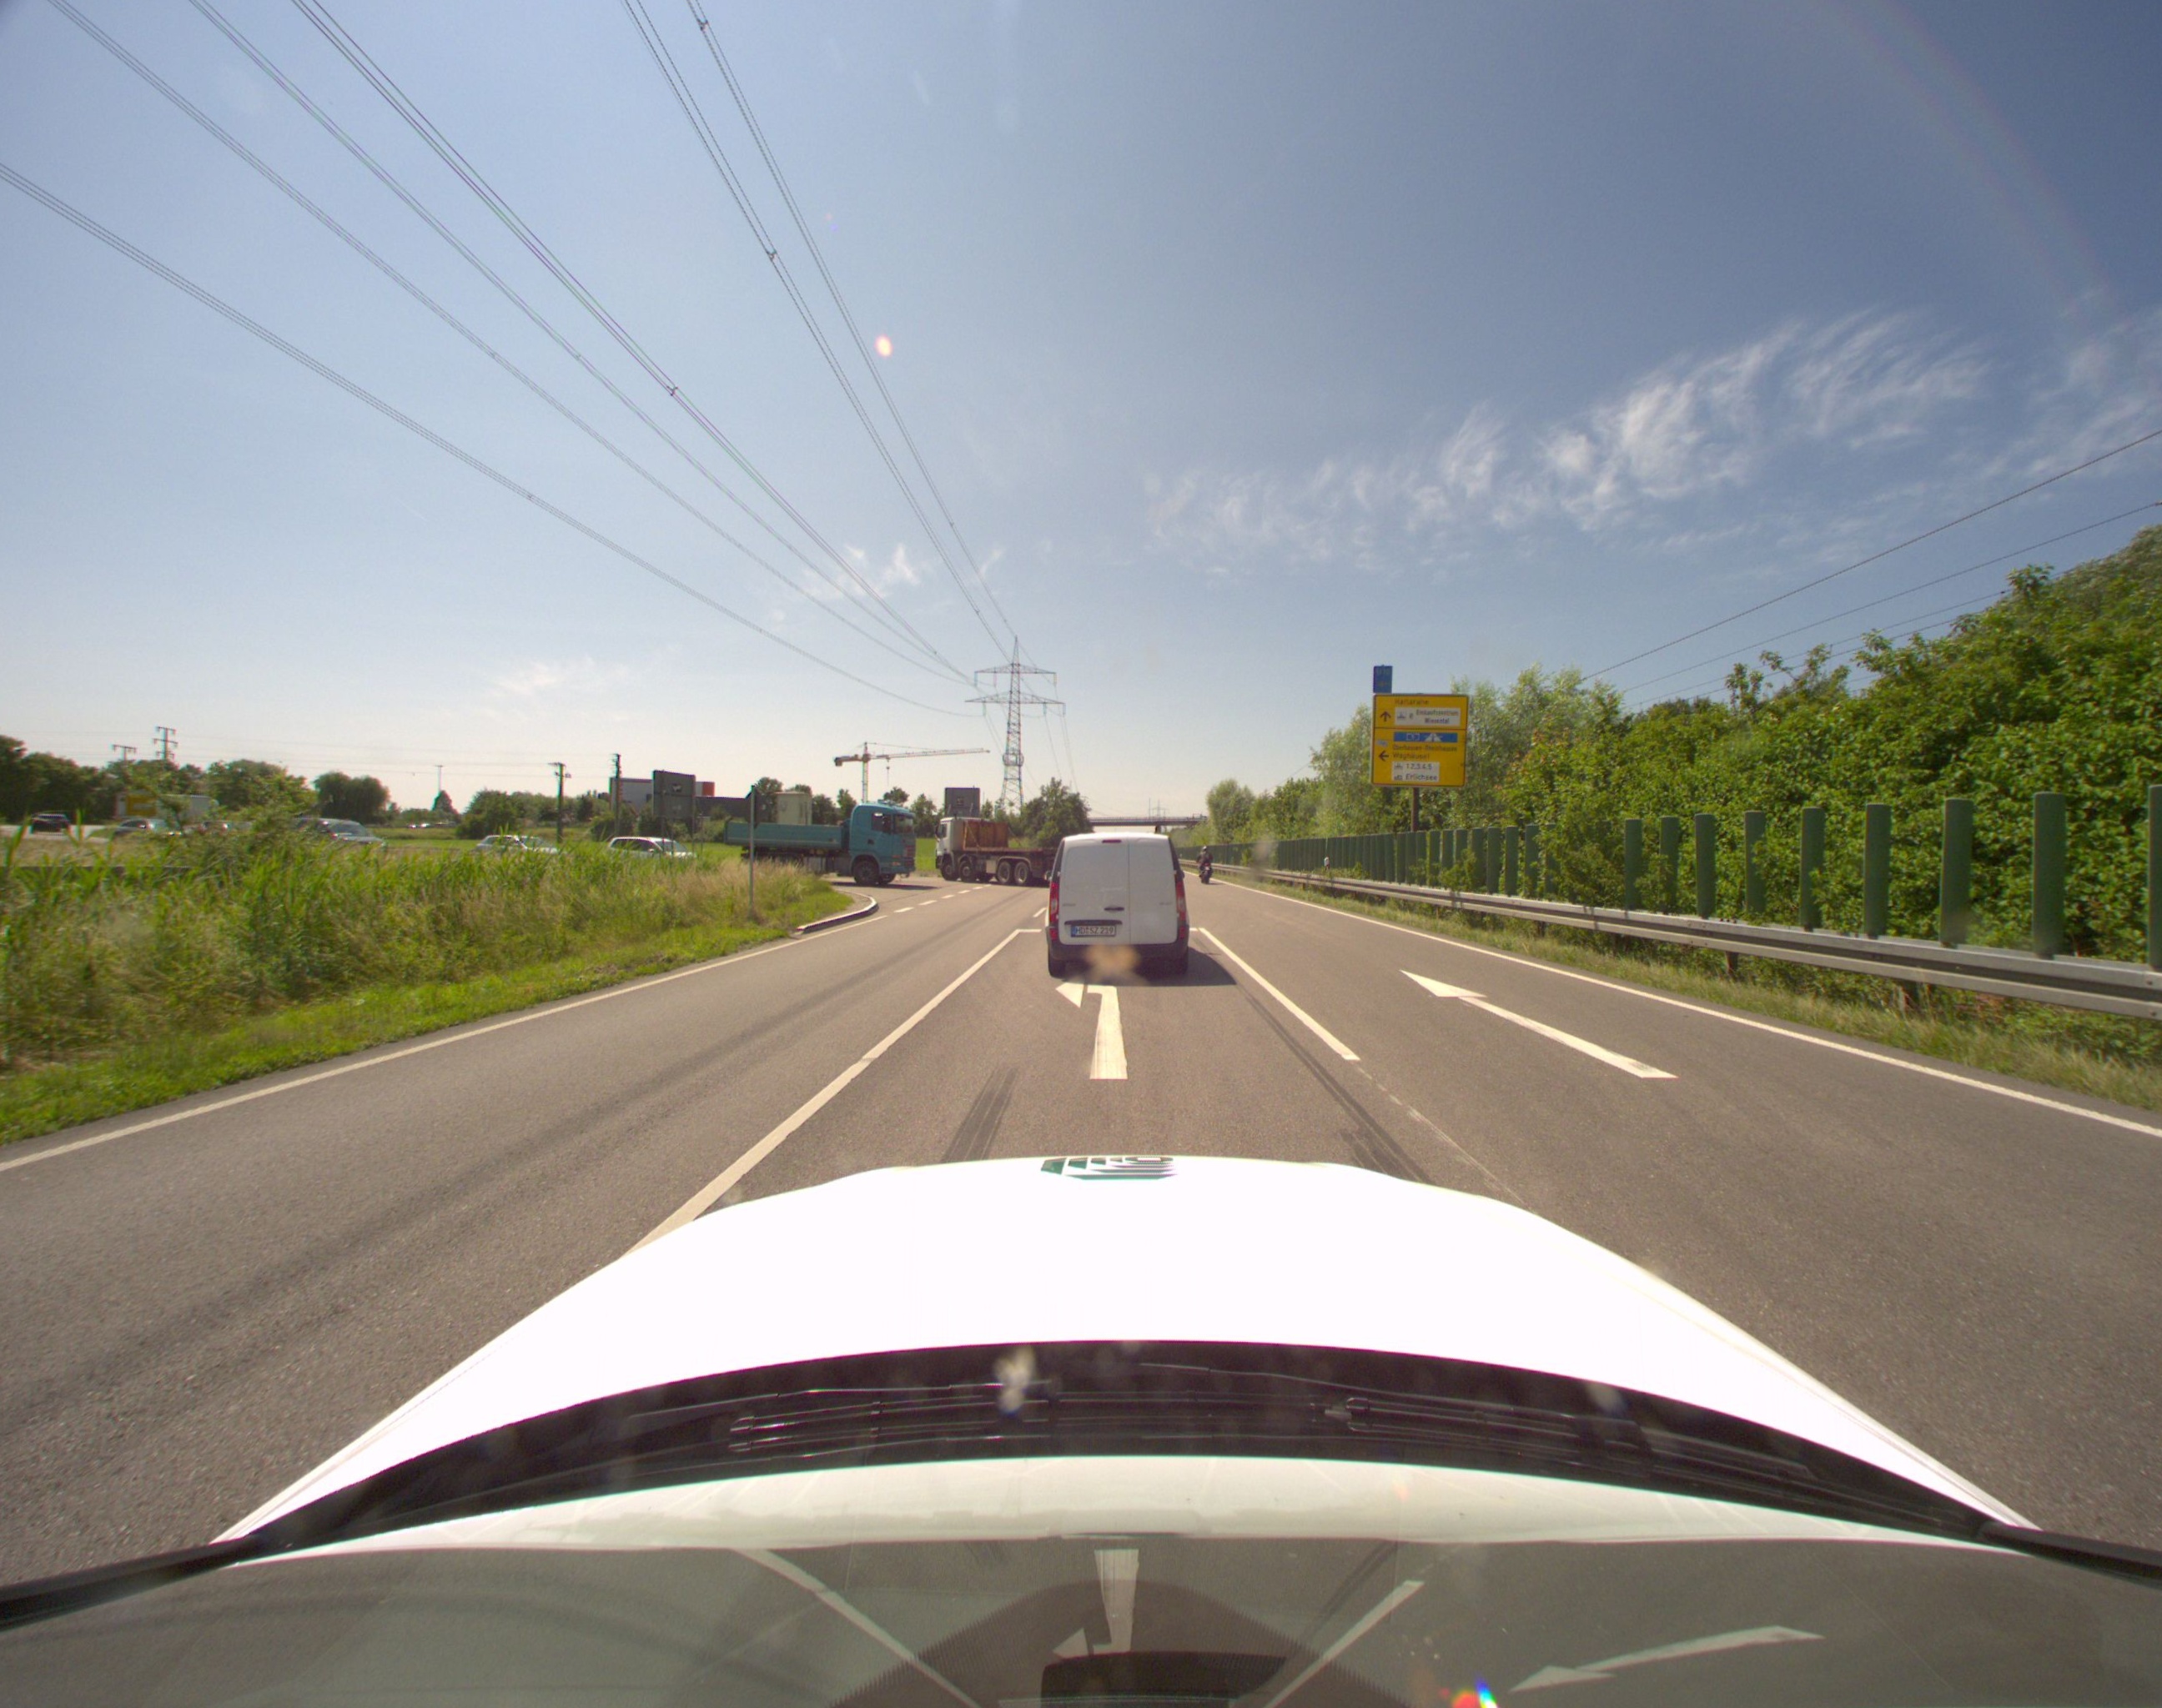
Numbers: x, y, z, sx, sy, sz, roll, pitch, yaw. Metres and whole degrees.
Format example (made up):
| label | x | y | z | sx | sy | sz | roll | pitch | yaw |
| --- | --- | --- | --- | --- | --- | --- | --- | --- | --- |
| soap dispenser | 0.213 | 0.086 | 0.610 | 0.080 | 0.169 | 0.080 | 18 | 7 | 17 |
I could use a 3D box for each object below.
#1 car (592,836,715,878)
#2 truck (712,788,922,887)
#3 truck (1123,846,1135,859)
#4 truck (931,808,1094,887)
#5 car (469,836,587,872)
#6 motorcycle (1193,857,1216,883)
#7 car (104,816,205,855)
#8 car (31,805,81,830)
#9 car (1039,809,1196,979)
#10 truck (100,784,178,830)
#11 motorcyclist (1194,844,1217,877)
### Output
| label | x | y | z | sx | sy | sz | roll | pitch | yaw |
| --- | --- | --- | --- | --- | --- | --- | --- | --- | --- |
| car | -18.240 | 0.103 | 34.816 | 4.506 | 1.612 | 1.977 | 1 | 0 | 16 |
| truck | -10.979 | -0.702 | 34.216 | 7.868 | 3.734 | 2.501 | 2 | 0 | 4 |
| truck | 10.016 | -0.381 | 171.036 | 2.365 | 2.689 | 8.014 | 1 | 0 | 2 |
| truck | -3.539 | -0.332 | 38.591 | 2.843 | 3.288 | 9.590 | 0 | 1 | -39 |
| car | -24.324 | -0.018 | 35.878 | 4.401 | 1.470 | 1.724 | 1 | 0 | 13 |
| motorcycle | 5.704 | 0.737 | 37.668 | 0.787 | 1.157 | 1.902 | 0 | 0 | 1 |
| car | -47.107 | -0.938 | 41.430 | 3.959 | 1.901 | 1.665 | 1 | 0 | 13 |
| car | -77.827 | -2.760 | 61.839 | 3.948 | 1.679 | 2.013 | 0 | 0 | 33 |
| car | 0.496 | 0.464 | 11.556 | 1.820 | 1.970 | 4.002 | -1 | 0 | 2 |
| truck | -107.296 | -5.208 | 93.017 | 3.709 | 4.646 | 13.085 | 1 | 0 | -40 |
| motorcyclist | 5.713 | 0.303 | 37.379 | 0.886 | 1.476 | 1.002 | 0 | 0 | 1 |
